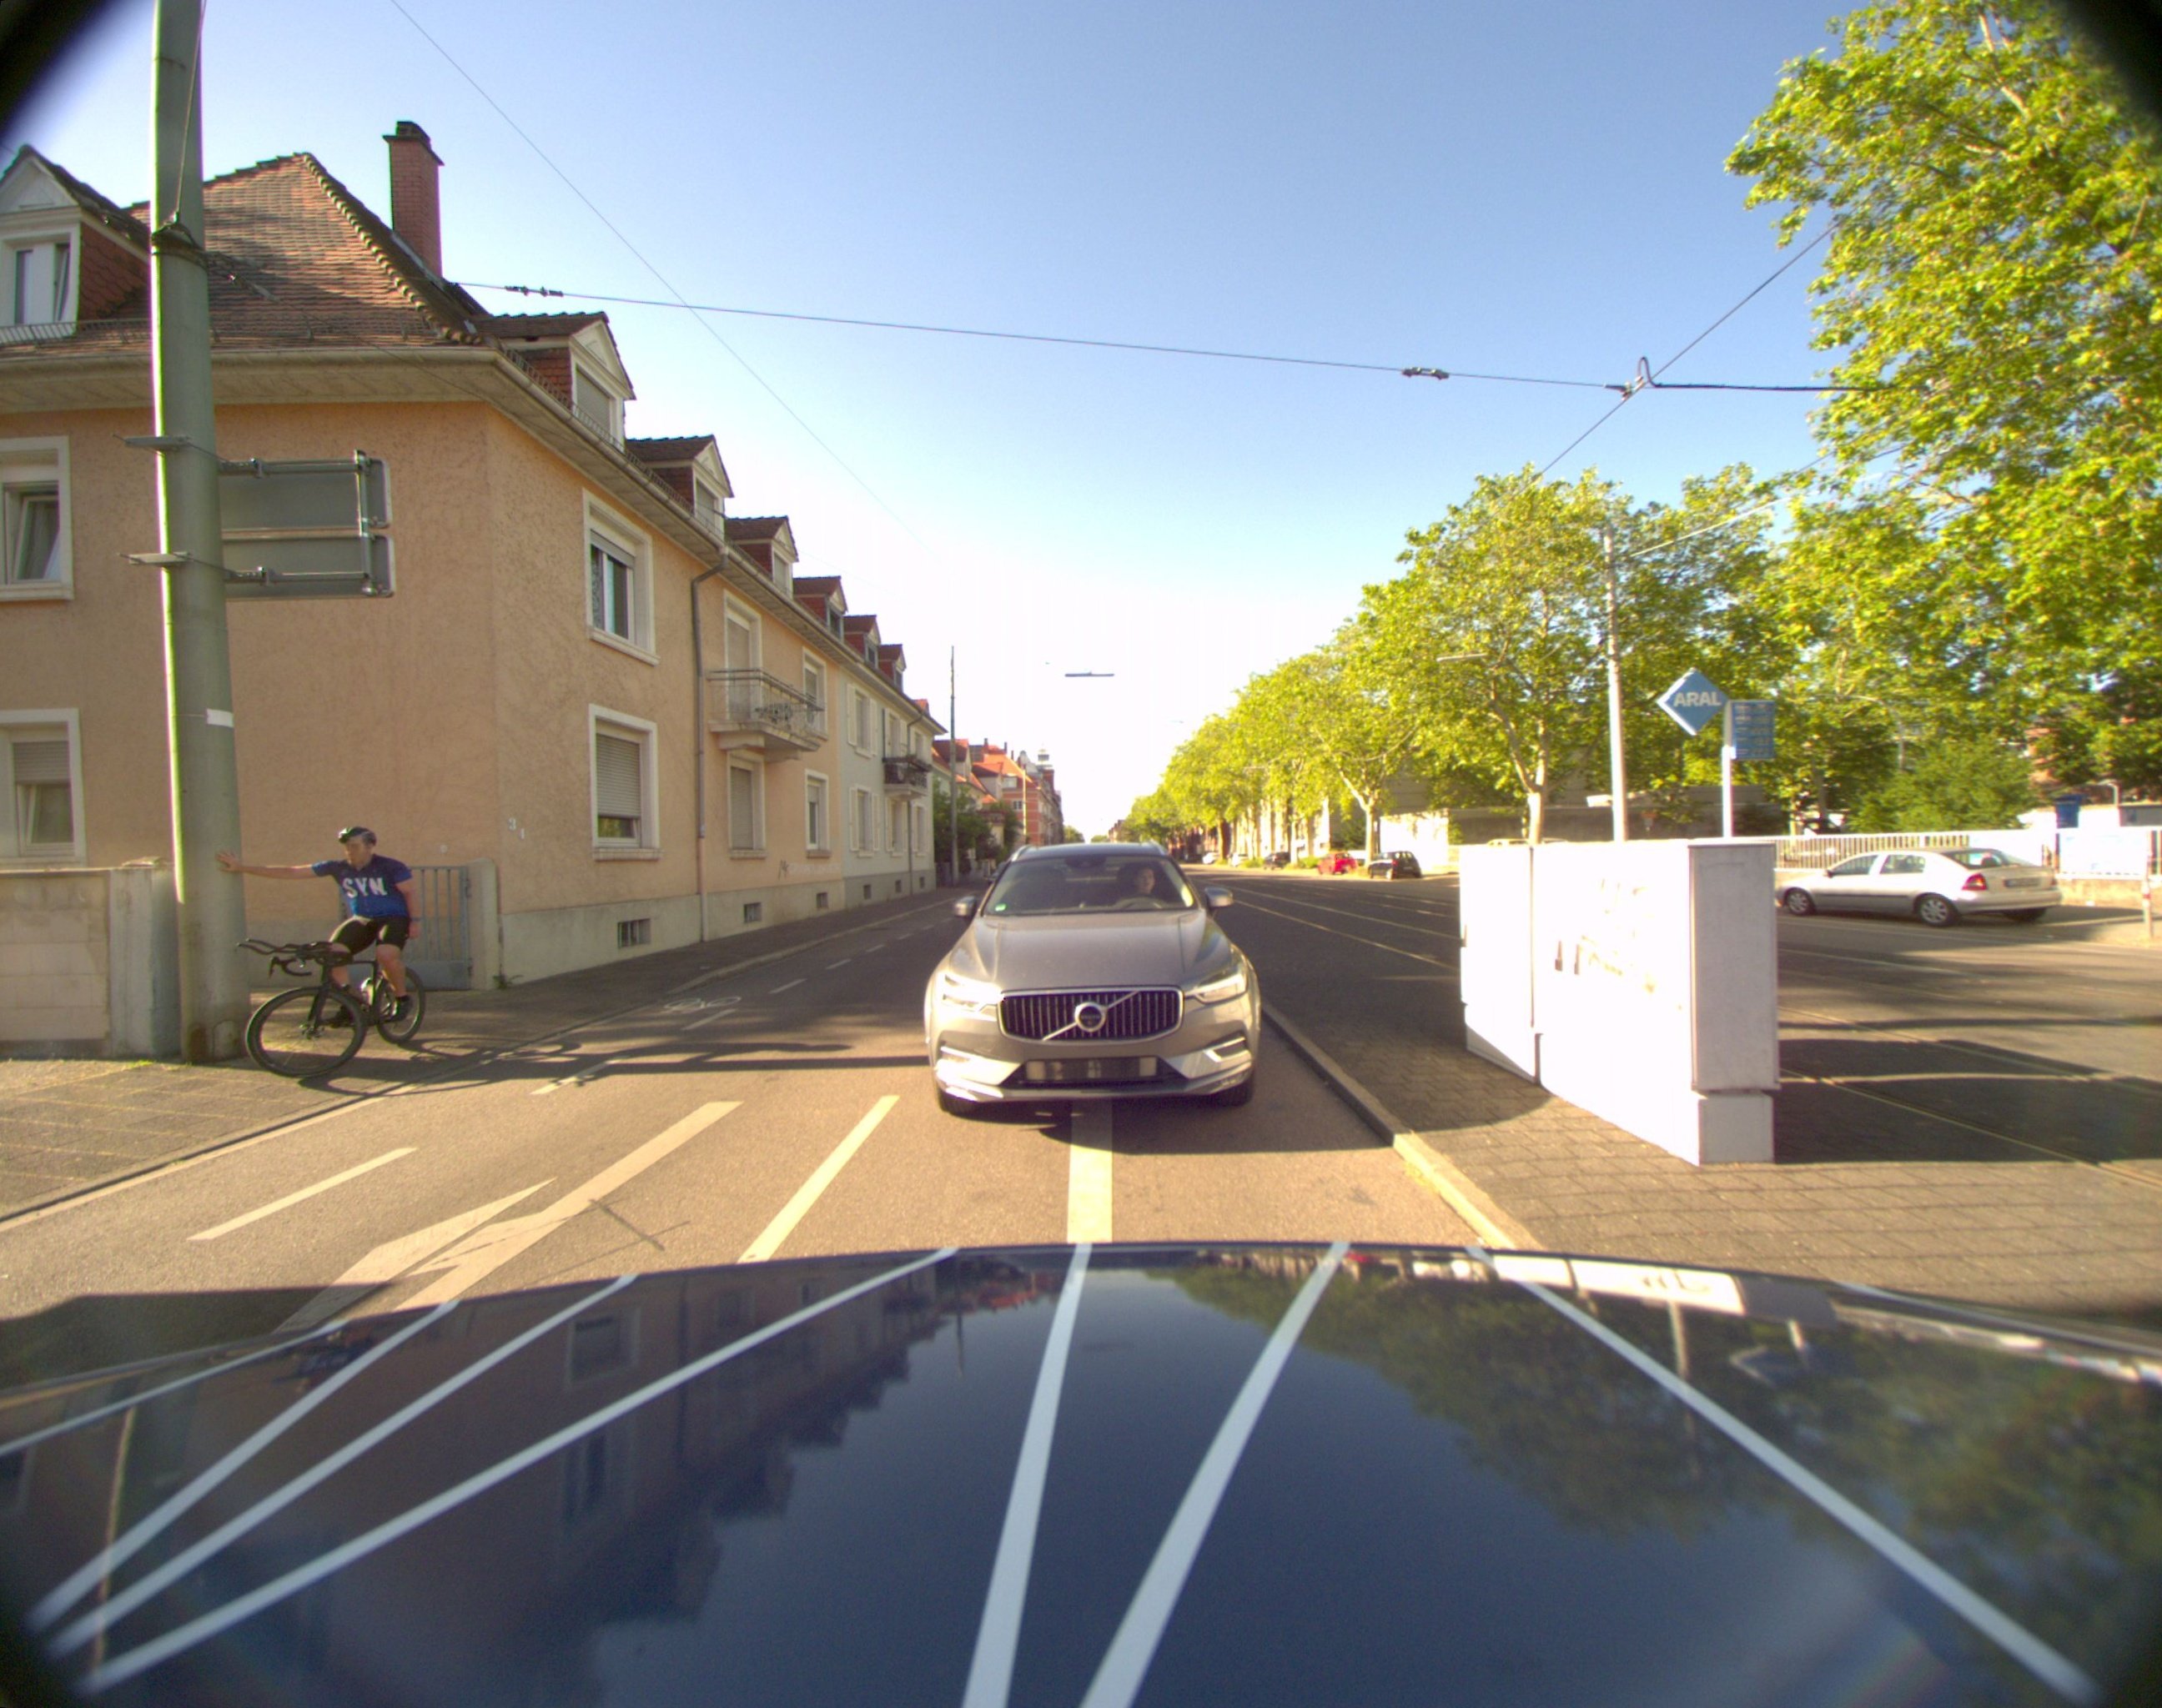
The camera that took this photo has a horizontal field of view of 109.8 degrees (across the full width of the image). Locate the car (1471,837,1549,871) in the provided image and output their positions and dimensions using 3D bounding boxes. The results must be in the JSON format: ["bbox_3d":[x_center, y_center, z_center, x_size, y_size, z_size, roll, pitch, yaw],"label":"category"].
[{"bbox_3d":[21.762,-0.026,38.717,1.845,1.524,4.001,-4,0,4],"label":"car"}]

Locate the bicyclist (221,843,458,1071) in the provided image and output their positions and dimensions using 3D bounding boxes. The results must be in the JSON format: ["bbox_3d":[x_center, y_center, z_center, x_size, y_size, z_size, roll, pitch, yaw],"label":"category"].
[{"bbox_3d":[-6.163,0.807,6.380,1.071,1.728,0.853,4,1,1],"label":"bicyclist"}]

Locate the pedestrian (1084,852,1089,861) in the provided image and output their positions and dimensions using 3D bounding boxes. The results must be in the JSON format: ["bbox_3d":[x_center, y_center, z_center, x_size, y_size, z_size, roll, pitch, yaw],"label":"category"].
[{"bbox_3d":[1.179,0.536,172.578,1.104,2.002,1.242,-2,1,1],"label":"pedestrian"}]

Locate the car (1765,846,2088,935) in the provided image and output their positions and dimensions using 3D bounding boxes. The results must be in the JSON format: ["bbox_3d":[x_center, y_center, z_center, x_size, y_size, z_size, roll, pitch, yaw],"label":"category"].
[{"bbox_3d":[16.245,0.617,14.980,1.846,1.400,3.999,-4,0,-1],"label":"car"}]

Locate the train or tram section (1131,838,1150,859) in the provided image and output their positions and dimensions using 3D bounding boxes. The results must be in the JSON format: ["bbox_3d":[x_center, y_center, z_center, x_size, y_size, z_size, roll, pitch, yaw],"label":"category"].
[{"bbox_3d":[10.211,-0.876,131.231,2.861,3.456,10.184,-1,0,3],"label":"train or tram section"}]

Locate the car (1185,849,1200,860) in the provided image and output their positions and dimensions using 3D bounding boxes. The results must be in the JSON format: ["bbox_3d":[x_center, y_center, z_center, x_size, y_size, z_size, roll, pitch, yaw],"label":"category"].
[{"bbox_3d":[18.392,-0.004,125.413,1.845,1.664,4.098,-4,0,3],"label":"car"}]

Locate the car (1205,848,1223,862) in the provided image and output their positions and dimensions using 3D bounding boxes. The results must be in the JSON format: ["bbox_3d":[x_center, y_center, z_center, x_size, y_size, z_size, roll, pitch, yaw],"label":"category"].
[{"bbox_3d":[17.616,0.078,100.909,1.845,1.664,4.098,-4,0,3],"label":"car"}]

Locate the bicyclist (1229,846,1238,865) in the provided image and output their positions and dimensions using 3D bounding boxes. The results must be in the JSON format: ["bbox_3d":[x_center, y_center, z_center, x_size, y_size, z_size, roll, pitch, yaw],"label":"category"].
[{"bbox_3d":[15.337,0.157,76.531,0.720,1.853,1.071,-1,1,0],"label":"bicyclist"}]

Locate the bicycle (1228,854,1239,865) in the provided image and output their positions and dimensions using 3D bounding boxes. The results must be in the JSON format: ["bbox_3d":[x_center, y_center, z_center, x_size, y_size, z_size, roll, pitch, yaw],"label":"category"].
[{"bbox_3d":[15.353,0.570,76.516,0.654,1.114,2.533,-1,0,1],"label":"bicycle"}]

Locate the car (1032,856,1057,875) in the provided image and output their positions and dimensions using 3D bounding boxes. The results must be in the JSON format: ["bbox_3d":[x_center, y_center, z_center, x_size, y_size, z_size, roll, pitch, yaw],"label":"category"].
[{"bbox_3d":[-2.864,0.859,60.412,1.808,1.402,3.999,-1,0,-1],"label":"car"}]

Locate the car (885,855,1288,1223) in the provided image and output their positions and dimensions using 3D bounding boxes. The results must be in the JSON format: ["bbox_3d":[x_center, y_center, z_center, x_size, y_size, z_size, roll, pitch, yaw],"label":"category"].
[{"bbox_3d":[0.009,0.886,5.793,1.892,1.695,4.318,-1,0,-1],"label":"car"}]

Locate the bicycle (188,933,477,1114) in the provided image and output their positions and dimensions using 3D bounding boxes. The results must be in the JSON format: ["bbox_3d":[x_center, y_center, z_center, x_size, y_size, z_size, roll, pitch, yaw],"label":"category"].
[{"bbox_3d":[-5.920,1.273,6.174,0.594,1.045,1.719,4,1,1],"label":"bicycle"}]

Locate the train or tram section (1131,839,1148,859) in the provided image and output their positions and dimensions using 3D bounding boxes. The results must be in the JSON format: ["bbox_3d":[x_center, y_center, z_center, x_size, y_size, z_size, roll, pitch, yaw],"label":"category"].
[{"bbox_3d":[10.888,-1.018,141.338,2.842,3.456,10.185,-2,1,4],"label":"train or tram section"}]

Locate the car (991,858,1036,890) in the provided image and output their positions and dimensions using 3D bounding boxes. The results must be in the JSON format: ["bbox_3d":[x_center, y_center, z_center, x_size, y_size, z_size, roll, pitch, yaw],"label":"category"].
[{"bbox_3d":[-3.217,0.944,36.982,1.847,1.412,3.999,-1,0,-1],"label":"car"}]

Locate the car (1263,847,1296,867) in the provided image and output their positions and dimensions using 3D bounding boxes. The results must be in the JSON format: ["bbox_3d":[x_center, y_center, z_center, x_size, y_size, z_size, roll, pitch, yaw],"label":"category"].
[{"bbox_3d":[17.185,0.226,65.899,1.845,1.607,4.098,-4,0,3],"label":"car"}]

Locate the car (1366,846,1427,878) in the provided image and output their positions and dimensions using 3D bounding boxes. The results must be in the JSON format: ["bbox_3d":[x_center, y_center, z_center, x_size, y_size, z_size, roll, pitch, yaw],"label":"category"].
[{"bbox_3d":[16.979,0.409,41.090,1.845,1.524,4.001,-4,0,4],"label":"car"}]

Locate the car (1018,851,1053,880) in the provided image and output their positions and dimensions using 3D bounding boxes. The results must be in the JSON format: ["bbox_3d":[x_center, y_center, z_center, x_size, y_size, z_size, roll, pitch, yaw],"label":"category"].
[{"bbox_3d":[-2.769,0.672,46.780,1.847,1.681,4.000,-1,0,0],"label":"car"}]

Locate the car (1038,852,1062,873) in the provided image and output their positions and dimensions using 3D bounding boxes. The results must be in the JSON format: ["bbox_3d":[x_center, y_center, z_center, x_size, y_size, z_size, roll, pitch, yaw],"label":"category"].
[{"bbox_3d":[-2.659,0.694,65.775,1.847,1.681,4.000,-1,0,0],"label":"car"}]

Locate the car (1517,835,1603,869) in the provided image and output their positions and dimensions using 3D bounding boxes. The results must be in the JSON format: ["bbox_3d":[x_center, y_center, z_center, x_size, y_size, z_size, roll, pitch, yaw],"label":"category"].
[{"bbox_3d":[24.056,-0.109,38.339,1.845,1.524,4.000,-4,0,2],"label":"car"}]

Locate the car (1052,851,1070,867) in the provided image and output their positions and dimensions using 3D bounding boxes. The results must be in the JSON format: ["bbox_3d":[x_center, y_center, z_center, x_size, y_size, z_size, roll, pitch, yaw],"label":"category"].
[{"bbox_3d":[-2.225,0.550,85.489,1.999,1.641,4.658,-1,0,-1],"label":"car"}]

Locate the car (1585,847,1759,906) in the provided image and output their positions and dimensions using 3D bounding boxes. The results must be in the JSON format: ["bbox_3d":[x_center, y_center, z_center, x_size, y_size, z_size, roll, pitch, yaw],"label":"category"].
[{"bbox_3d":[16.527,0.568,21.553,1.845,1.400,4.138,-4,0,4],"label":"car"}]

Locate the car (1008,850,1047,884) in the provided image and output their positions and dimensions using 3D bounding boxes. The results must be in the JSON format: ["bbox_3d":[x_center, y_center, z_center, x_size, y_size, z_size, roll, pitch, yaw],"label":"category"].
[{"bbox_3d":[-2.939,0.684,42.341,1.847,1.742,4.144,-1,0,0],"label":"car"}]

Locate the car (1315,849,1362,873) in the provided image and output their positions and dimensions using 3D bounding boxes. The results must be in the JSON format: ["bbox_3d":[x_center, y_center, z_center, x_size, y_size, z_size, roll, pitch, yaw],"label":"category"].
[{"bbox_3d":[16.976,0.447,50.314,1.845,1.400,4.001,-4,0,3],"label":"car"}]

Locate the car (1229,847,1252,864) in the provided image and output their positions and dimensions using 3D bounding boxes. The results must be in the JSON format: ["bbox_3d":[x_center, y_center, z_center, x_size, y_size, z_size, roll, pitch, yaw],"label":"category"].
[{"bbox_3d":[17.508,0.120,83.547,1.845,1.664,4.098,-4,0,3],"label":"car"}]
